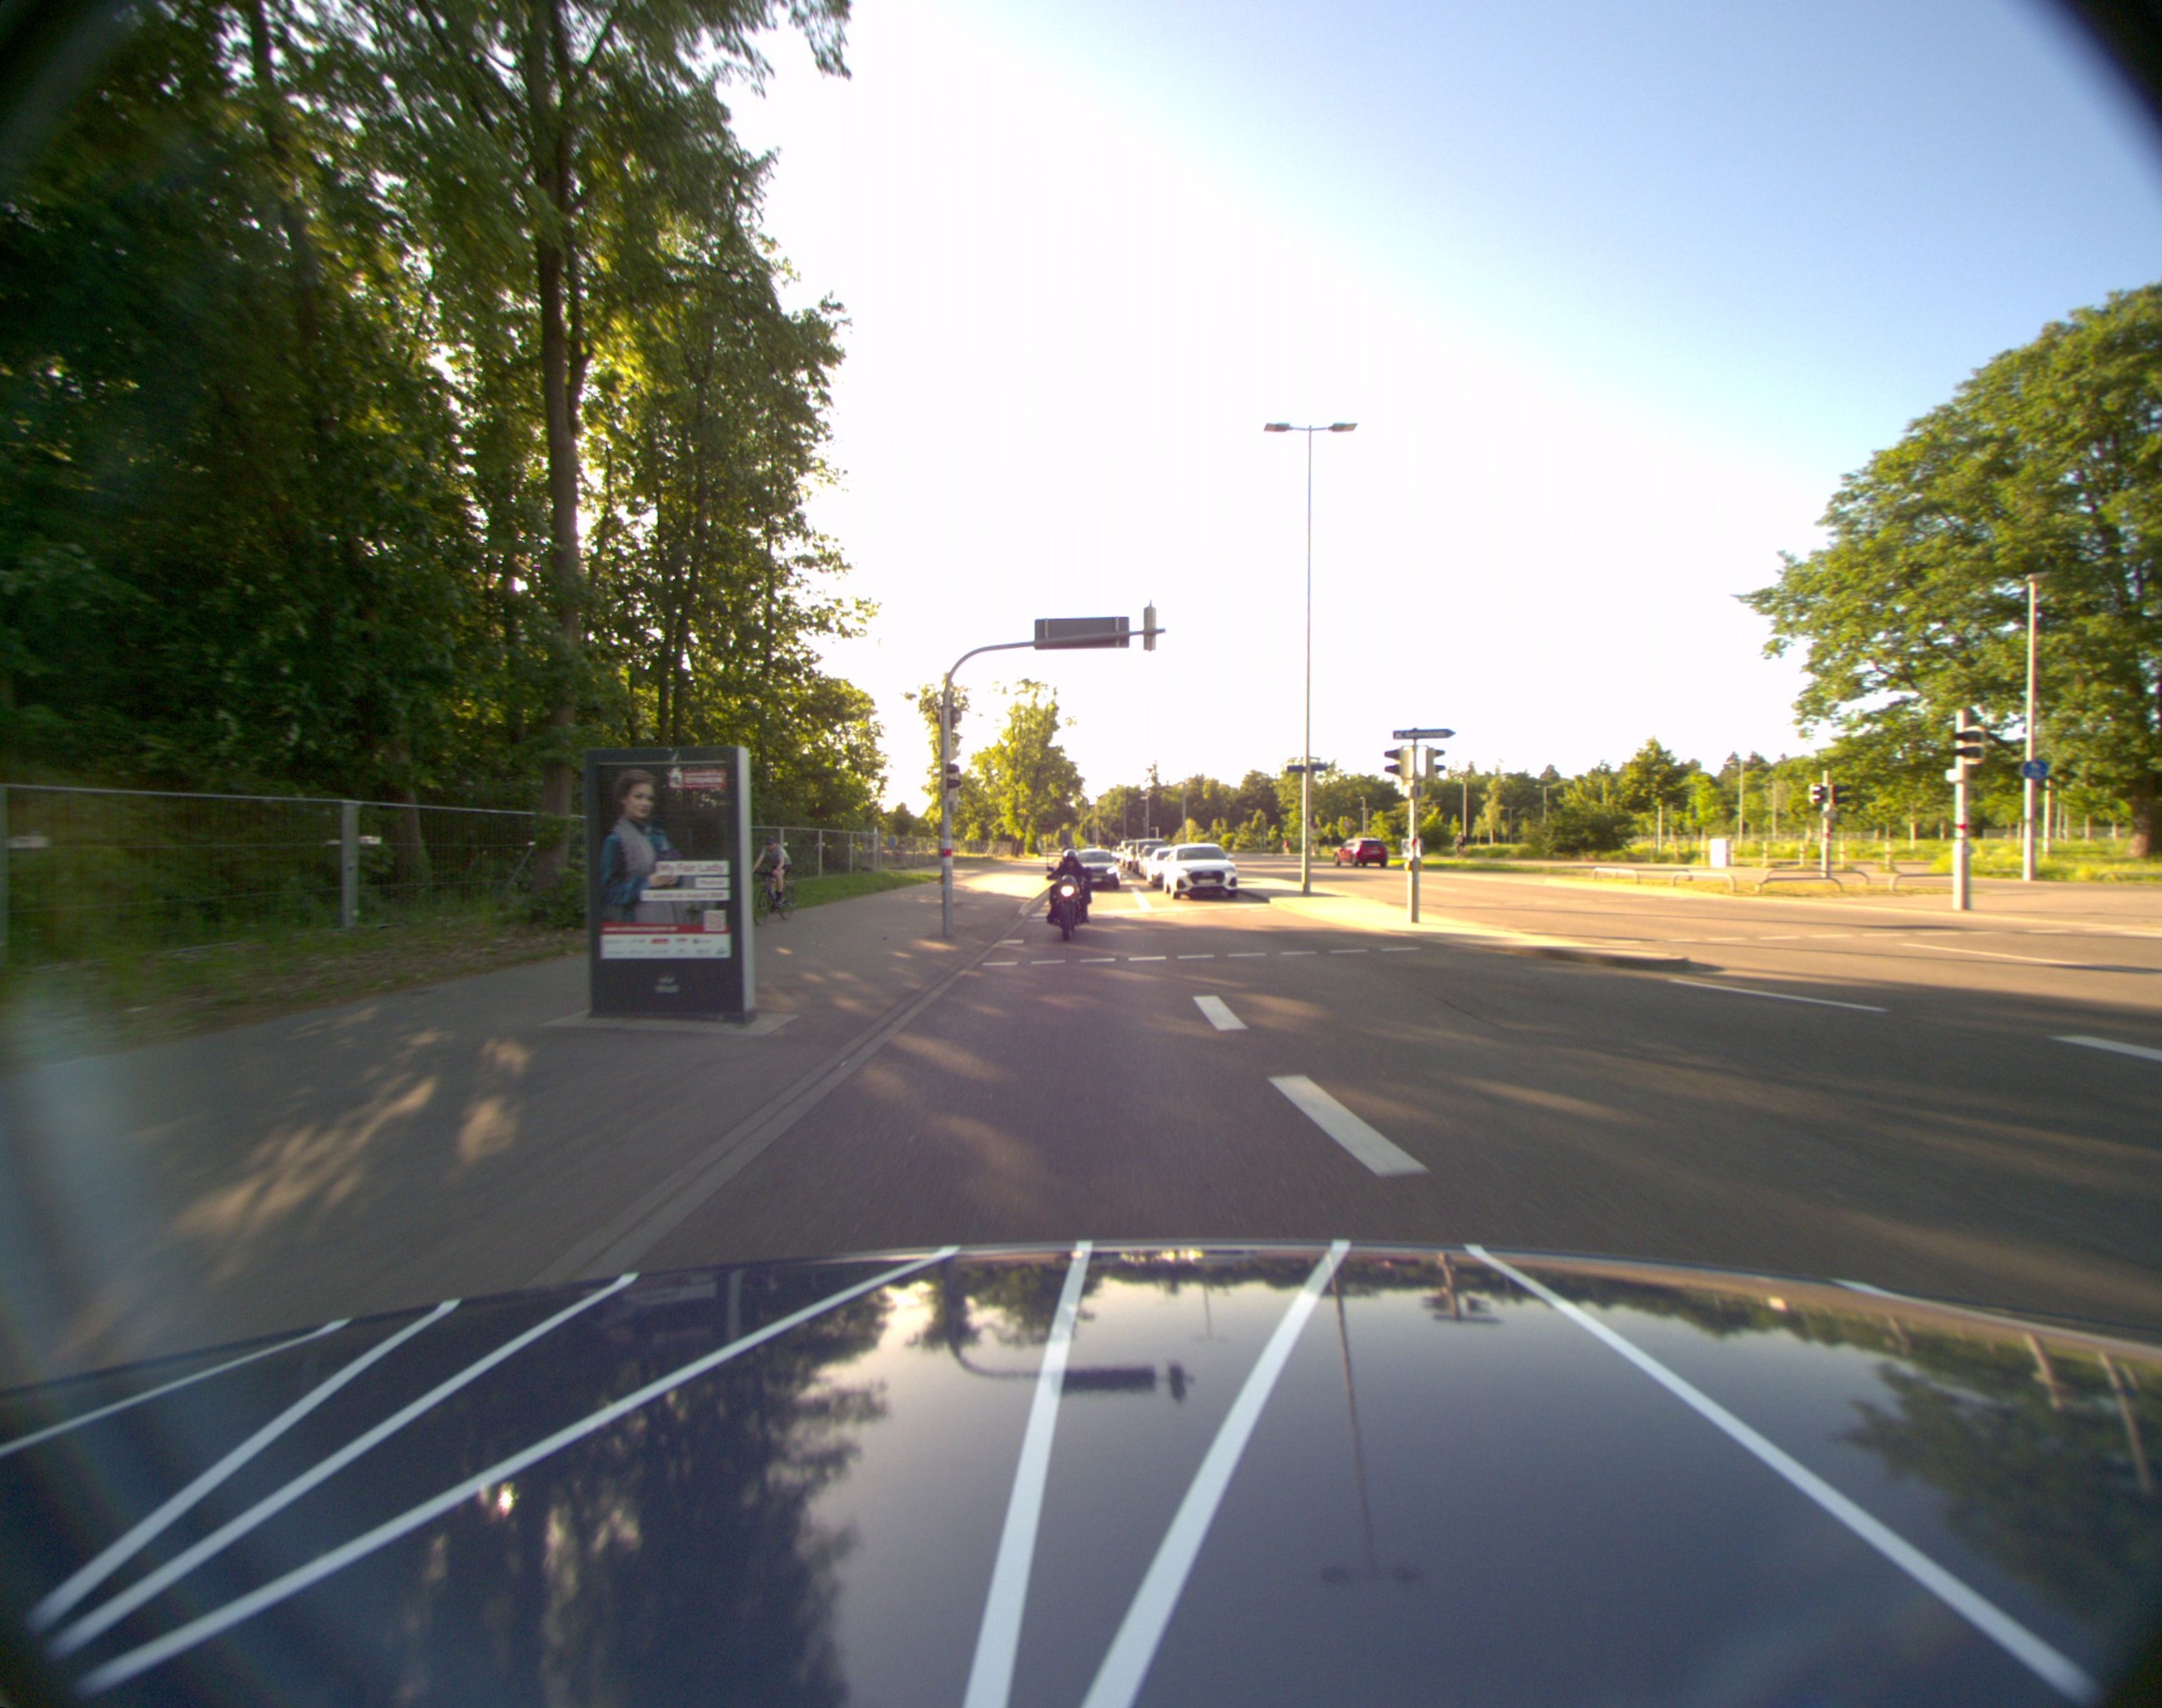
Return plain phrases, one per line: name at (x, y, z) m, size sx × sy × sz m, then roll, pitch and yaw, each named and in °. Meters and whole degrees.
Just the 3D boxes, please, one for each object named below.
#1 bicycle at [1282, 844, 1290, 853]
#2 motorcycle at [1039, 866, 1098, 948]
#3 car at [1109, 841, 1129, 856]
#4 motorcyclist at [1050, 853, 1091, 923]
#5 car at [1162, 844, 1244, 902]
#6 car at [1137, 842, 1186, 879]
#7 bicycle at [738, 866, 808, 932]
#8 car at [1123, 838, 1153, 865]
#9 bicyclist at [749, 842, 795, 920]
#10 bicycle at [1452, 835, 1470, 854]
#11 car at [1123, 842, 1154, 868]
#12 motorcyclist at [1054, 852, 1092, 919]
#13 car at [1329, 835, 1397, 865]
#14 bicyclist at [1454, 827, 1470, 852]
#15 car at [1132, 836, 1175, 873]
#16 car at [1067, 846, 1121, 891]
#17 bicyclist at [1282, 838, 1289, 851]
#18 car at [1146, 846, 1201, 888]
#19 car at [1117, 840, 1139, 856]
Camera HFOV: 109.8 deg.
bicycle at (23.527, -0.681, 87.188) m, size 0.584 × 1.013 × 1.362 m, roll -2°, pitch 1°, yaw 2°
motorcycle at (-0.176, 0.913, 14.158) m, size 0.916 × 1.243 × 2.962 m, roll -2°, pitch 1°, yaw 2°
car at (4.132, -0.585, 83.079) m, size 1.896 × 1.479 × 4.639 m, roll -2°, pitch 1°, yaw 1°
motorcyclist at (-0.187, 0.623, 14.303) m, size 0.671 × 1.257 × 0.826 m, roll -2°, pitch 2°, yaw 2°
car at (3.515, 0.498, 22.683) m, size 1.838 × 1.504 × 4.300 m, roll -2°, pitch 1°, yaw 2°
car at (3.709, 0.249, 35.653) m, size 1.797 × 1.574 × 4.320 m, roll -2°, pitch 1°, yaw 1°
bicycle at (-5.919, 0.830, 14.712) m, size 0.555 × 1.131 × 1.864 m, roll 1°, pitch 1°, yaw 2°
car at (4.303, -0.240, 58.118) m, size 1.867 × 1.882 × 5.067 m, roll -2°, pitch 1°, yaw 1°
bicyclist at (-5.922, 0.498, 14.601) m, size 0.521 × 1.461 × 0.861 m, roll 0°, pitch 2°, yaw 2°
bicycle at (25.623, -0.623, 51.216) m, size 0.494 × 1.230 × 1.795 m, roll -2°, pitch 1°, yaw 8°
car at (3.762, 0.038, 50.317) m, size 1.736 × 1.560 × 4.103 m, roll -2°, pitch 1°, yaw 1°
motorcyclist at (-0.147, 0.613, 15.167) m, size 0.671 × 1.257 × 0.826 m, roll -2°, pitch 2°, yaw 2°
car at (16.177, -0.240, 43.848) m, size 1.891 × 1.544 × 4.570 m, roll -3°, pitch 1°, yaw -4°
bicyclist at (25.596, -0.978, 51.052) m, size 0.682 × 1.602 × 0.800 m, roll -2°, pitch 2°, yaw 9°
car at (3.924, 0.007, 42.121) m, size 1.884 × 1.862 × 5.234 m, roll -2°, pitch 1°, yaw 1°
car at (0.484, 0.481, 29.425) m, size 1.867 × 1.538 × 4.795 m, roll -2°, pitch 1°, yaw 1°
bicyclist at (23.413, -1.106, 87.110) m, size 0.593 × 1.405 × 0.800 m, roll -2°, pitch 2°, yaw 3°
car at (3.469, 0.439, 29.028) m, size 1.661 × 1.419 × 4.318 m, roll -2°, pitch 1°, yaw 2°
car at (4.459, -0.593, 72.681) m, size 1.896 × 1.389 × 4.639 m, roll -2°, pitch 1°, yaw 1°
